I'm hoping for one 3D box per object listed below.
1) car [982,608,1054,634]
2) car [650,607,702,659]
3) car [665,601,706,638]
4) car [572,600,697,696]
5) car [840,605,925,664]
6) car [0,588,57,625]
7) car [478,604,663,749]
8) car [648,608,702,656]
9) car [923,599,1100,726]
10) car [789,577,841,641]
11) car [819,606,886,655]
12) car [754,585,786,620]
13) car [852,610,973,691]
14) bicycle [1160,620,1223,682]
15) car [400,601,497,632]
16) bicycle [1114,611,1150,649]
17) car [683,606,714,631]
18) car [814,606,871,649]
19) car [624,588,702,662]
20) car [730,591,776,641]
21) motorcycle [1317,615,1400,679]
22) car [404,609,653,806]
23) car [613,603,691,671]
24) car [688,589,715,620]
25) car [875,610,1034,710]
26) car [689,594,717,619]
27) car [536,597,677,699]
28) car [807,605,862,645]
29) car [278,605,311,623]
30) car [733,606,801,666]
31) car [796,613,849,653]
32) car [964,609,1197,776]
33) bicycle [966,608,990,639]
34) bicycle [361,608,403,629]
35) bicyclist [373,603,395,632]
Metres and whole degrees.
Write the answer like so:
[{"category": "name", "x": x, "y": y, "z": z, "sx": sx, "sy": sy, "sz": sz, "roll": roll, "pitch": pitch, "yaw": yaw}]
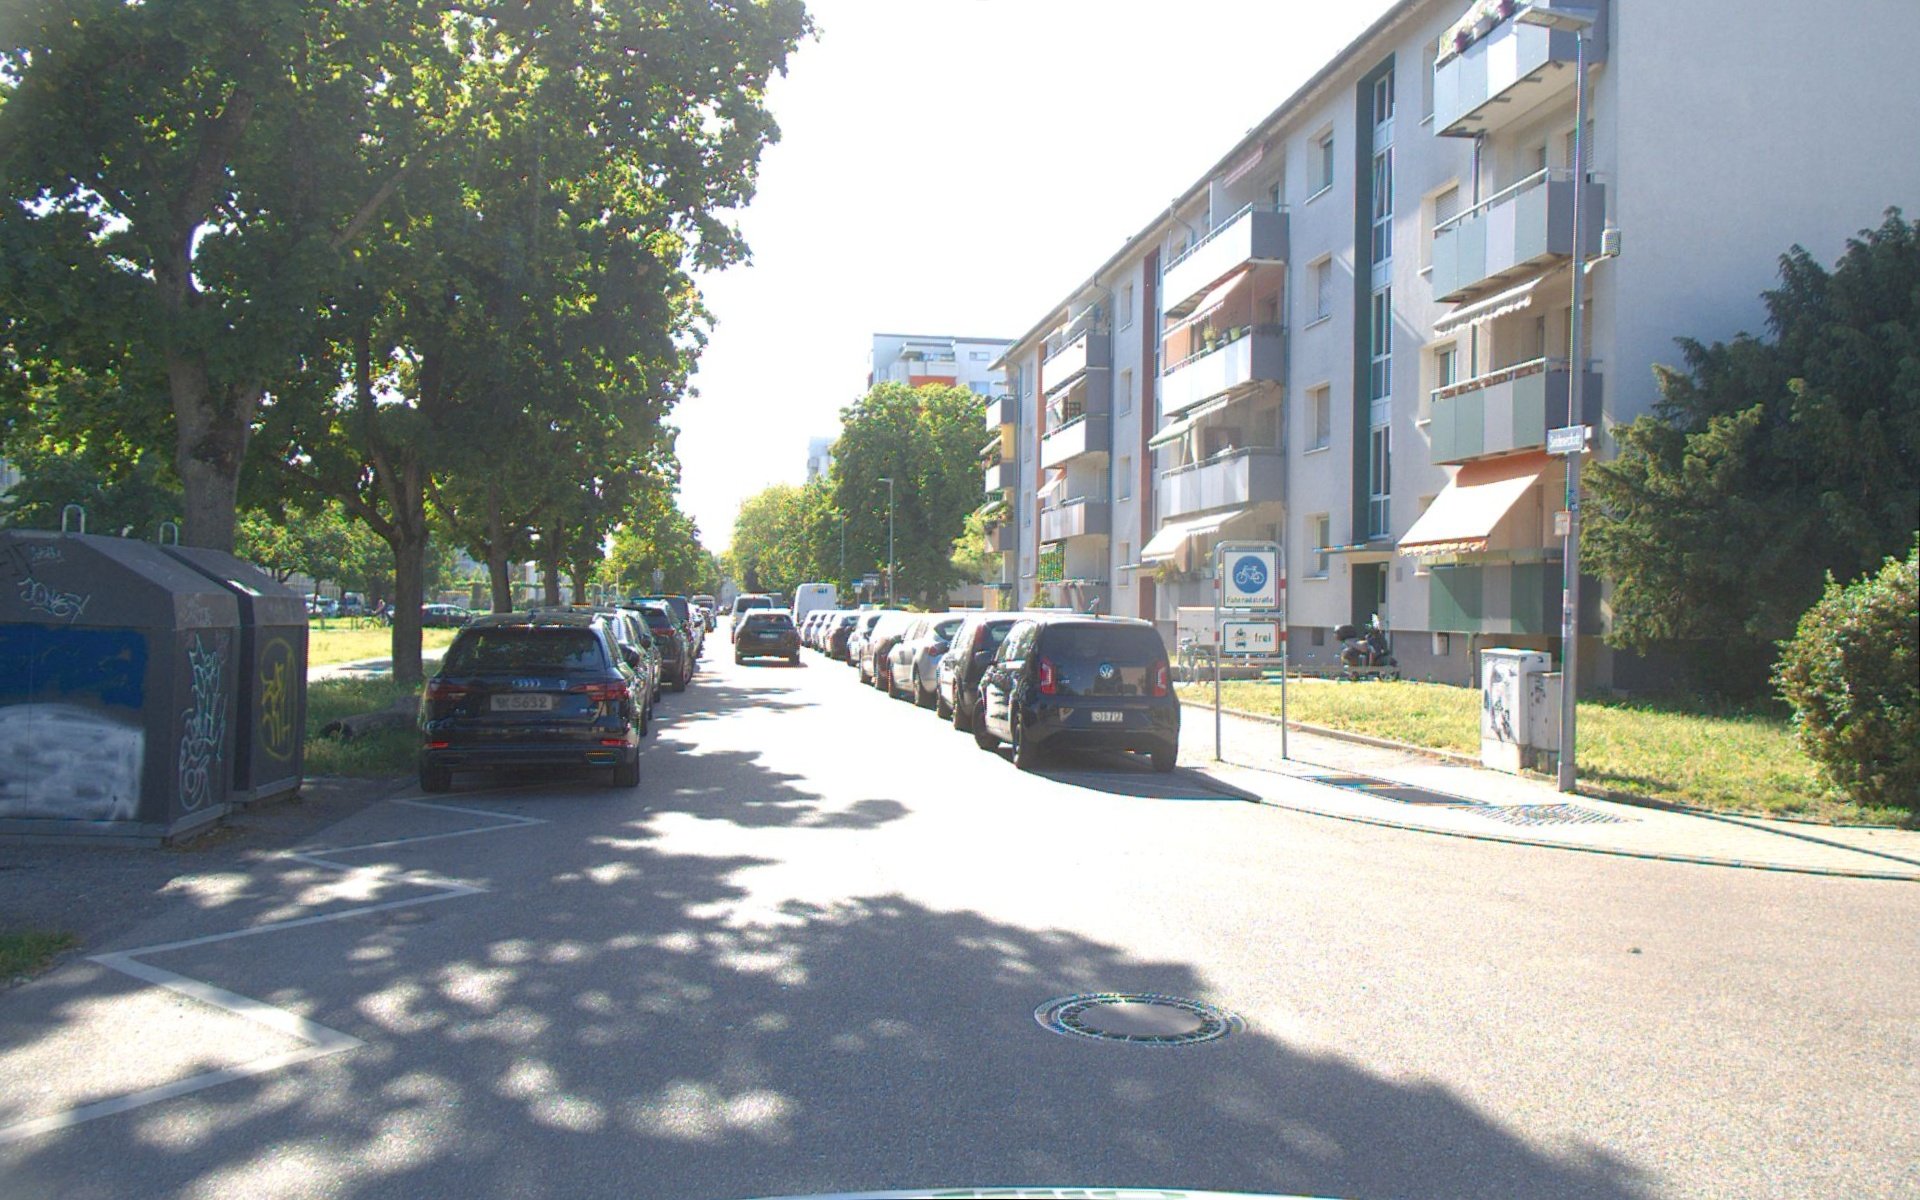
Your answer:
[{"category": "car", "x": 3.265, "y": 1.197, "z": 93.876, "sx": 3.819, "sy": 1.454, "sz": 1.653, "roll": 1, "pitch": 0, "yaw": -12}, {"category": "car", "x": -8.975, "y": 1.013, "z": 52.303, "sx": 1.557, "sy": 1.519, "sz": 3.676, "roll": -1, "pitch": 0, "yaw": -10}, {"category": "car", "x": -13.118, "y": 0.905, "z": 79.183, "sx": 1.723, "sy": 1.676, "sz": 4.280, "roll": -1, "pitch": 0, "yaw": -7}, {"category": "car", "x": -6.075, "y": 0.844, "z": 31.378, "sx": 1.987, "sy": 1.654, "sz": 4.749, "roll": -1, "pitch": 0, "yaw": -7}, {"category": "car", "x": -2.136, "y": 0.890, "z": 44.448, "sx": 1.717, "sy": 1.525, "sz": 3.850, "roll": 0, "pitch": 0, "yaw": -12}, {"category": "car", "x": -49.011, "y": 0.329, "z": 86.088, "sx": 2.044, "sy": 1.905, "sz": 5.085, "roll": 1, "pitch": 0, "yaw": -11}, {"category": "car", "x": -4.745, "y": 0.840, "z": 20.674, "sx": 1.958, "sy": 1.543, "sz": 5.144, "roll": -1, "pitch": 0, "yaw": -11}, {"category": "car", "x": -9.766, "y": 1.052, "z": 56.667, "sx": 1.723, "sy": 1.518, "sz": 4.657, "roll": -1, "pitch": 0, "yaw": -10}, {"category": "car", "x": 0.595, "y": 0.789, "z": 22.777, "sx": 1.736, "sy": 1.556, "sz": 4.550, "roll": 1, "pitch": 0, "yaw": -7}, {"category": "car", "x": -6.727, "y": 0.410, "z": 76.104, "sx": 2.102, "sy": 2.760, "sz": 6.830, "roll": -1, "pitch": 0, "yaw": -7}, {"category": "car", "x": -3.488, "y": 0.953, "z": 52.905, "sx": 1.668, "sy": 1.461, "sz": 4.461, "roll": -1, "pitch": 0, "yaw": -10}, {"category": "car", "x": -15.286, "y": 0.221, "z": 132.667, "sx": 2.124, "sy": 2.736, "sz": 5.401, "roll": 1, "pitch": 0, "yaw": -11}, {"category": "car", "x": -1.050, "y": 0.973, "z": 33.576, "sx": 1.809, "sy": 1.498, "sz": 5.054, "roll": 1, "pitch": 0, "yaw": -9}, {"category": "bicycle", "x": 4.303, "y": 0.934, "z": 30.871, "sx": 0.706, "sy": 1.096, "sz": 1.893, "roll": 1, "pitch": 0, "yaw": -7}, {"category": "car", "x": -25.726, "y": 0.819, "z": 83.243, "sx": 4.294, "sy": 1.434, "sz": 1.899, "roll": 1, "pitch": 1, "yaw": -33}, {"category": "bicycle", "x": 5.081, "y": 0.882, "z": 49.004, "sx": 0.514, "sy": 1.089, "sz": 2.005, "roll": -2, "pitch": 0, "yaw": -9}, {"category": "car", "x": -15.932, "y": 1.117, "z": 101.018, "sx": 1.715, "sy": 1.450, "sz": 3.909, "roll": -1, "pitch": -1, "yaw": -7}, {"category": "car", "x": -4.177, "y": 0.929, "z": 58.284, "sx": 1.689, "sy": 1.461, "sz": 4.145, "roll": 0, "pitch": 0, "yaw": -8}, {"category": "car", "x": -7.764, "y": 0.663, "z": 43.588, "sx": 1.829, "sy": 1.816, "sz": 4.981, "roll": 0, "pitch": -1, "yaw": -8}, {"category": "car", "x": -8.755, "y": 0.675, "z": 69.948, "sx": 1.858, "sy": 2.026, "sz": 4.003, "roll": -1, "pitch": 0, "yaw": -7}, {"category": "motorcycle", "x": 7.570, "y": 0.887, "z": 31.526, "sx": 0.573, "sy": 1.171, "sz": 2.027, "roll": 1, "pitch": -1, "yaw": -17}, {"category": "car", "x": -3.716, "y": 0.825, "z": 15.006, "sx": 1.802, "sy": 1.478, "sz": 4.955, "roll": 0, "pitch": 0, "yaw": -10}, {"category": "car", "x": -6.941, "y": 0.807, "z": 37.575, "sx": 1.509, "sy": 1.453, "sz": 4.080, "roll": 1, "pitch": 0, "yaw": -7}, {"category": "car", "x": -21.474, "y": 0.353, "z": 137.663, "sx": 2.059, "sy": 2.540, "sz": 4.120, "roll": 1, "pitch": 0, "yaw": -7}, {"category": "car", "x": -0.188, "y": 0.964, "z": 28.270, "sx": 1.840, "sy": 1.560, "sz": 4.480, "roll": 1, "pitch": 0, "yaw": -12}, {"category": "car", "x": -20.396, "y": 0.529, "z": 131.354, "sx": 2.059, "sy": 1.977, "sz": 4.119, "roll": 1, "pitch": 0, "yaw": -8}, {"category": "car", "x": -5.400, "y": 0.720, "z": 25.690, "sx": 1.845, "sy": 1.444, "sz": 3.797, "roll": 0, "pitch": -1, "yaw": -8}, {"category": "car", "x": -4.873, "y": 0.935, "z": 63.606, "sx": 1.843, "sy": 1.501, "sz": 4.132, "roll": 0, "pitch": 0, "yaw": -8}, {"category": "car", "x": -57.590, "y": 1.209, "z": 143.228, "sx": 1.812, "sy": 1.465, "sz": 3.767, "roll": 1, "pitch": 0, "yaw": -8}, {"category": "car", "x": -5.360, "y": 0.967, "z": 45.921, "sx": 1.746, "sy": 1.558, "sz": 3.993, "roll": 2, "pitch": 0, "yaw": -7}, {"category": "car", "x": -5.703, "y": 1.341, "z": 68.208, "sx": 1.815, "sy": 1.491, "sz": 4.192, "roll": 2, "pitch": 0, "yaw": -10}, {"category": "car", "x": 1.140, "y": 0.883, "z": 17.332, "sx": 1.627, "sy": 1.499, "sz": 3.785, "roll": 2, "pitch": -1, "yaw": -8}, {"category": "bicycle", "x": 0.715, "y": 0.934, "z": 66.139, "sx": 0.585, "sy": 1.197, "sz": 2.009, "roll": 1, "pitch": -2, "yaw": -9}, {"category": "bicycle", "x": -29.692, "y": 0.957, "z": 84.948, "sx": 1.959, "sy": 1.034, "sz": 0.650, "roll": 1, "pitch": -1, "yaw": -36}, {"category": "bicyclist", "x": -29.624, "y": 0.896, "z": 85.055, "sx": 0.867, "sy": 1.388, "sz": 0.616, "roll": -1, "pitch": -5, "yaw": -35}]
